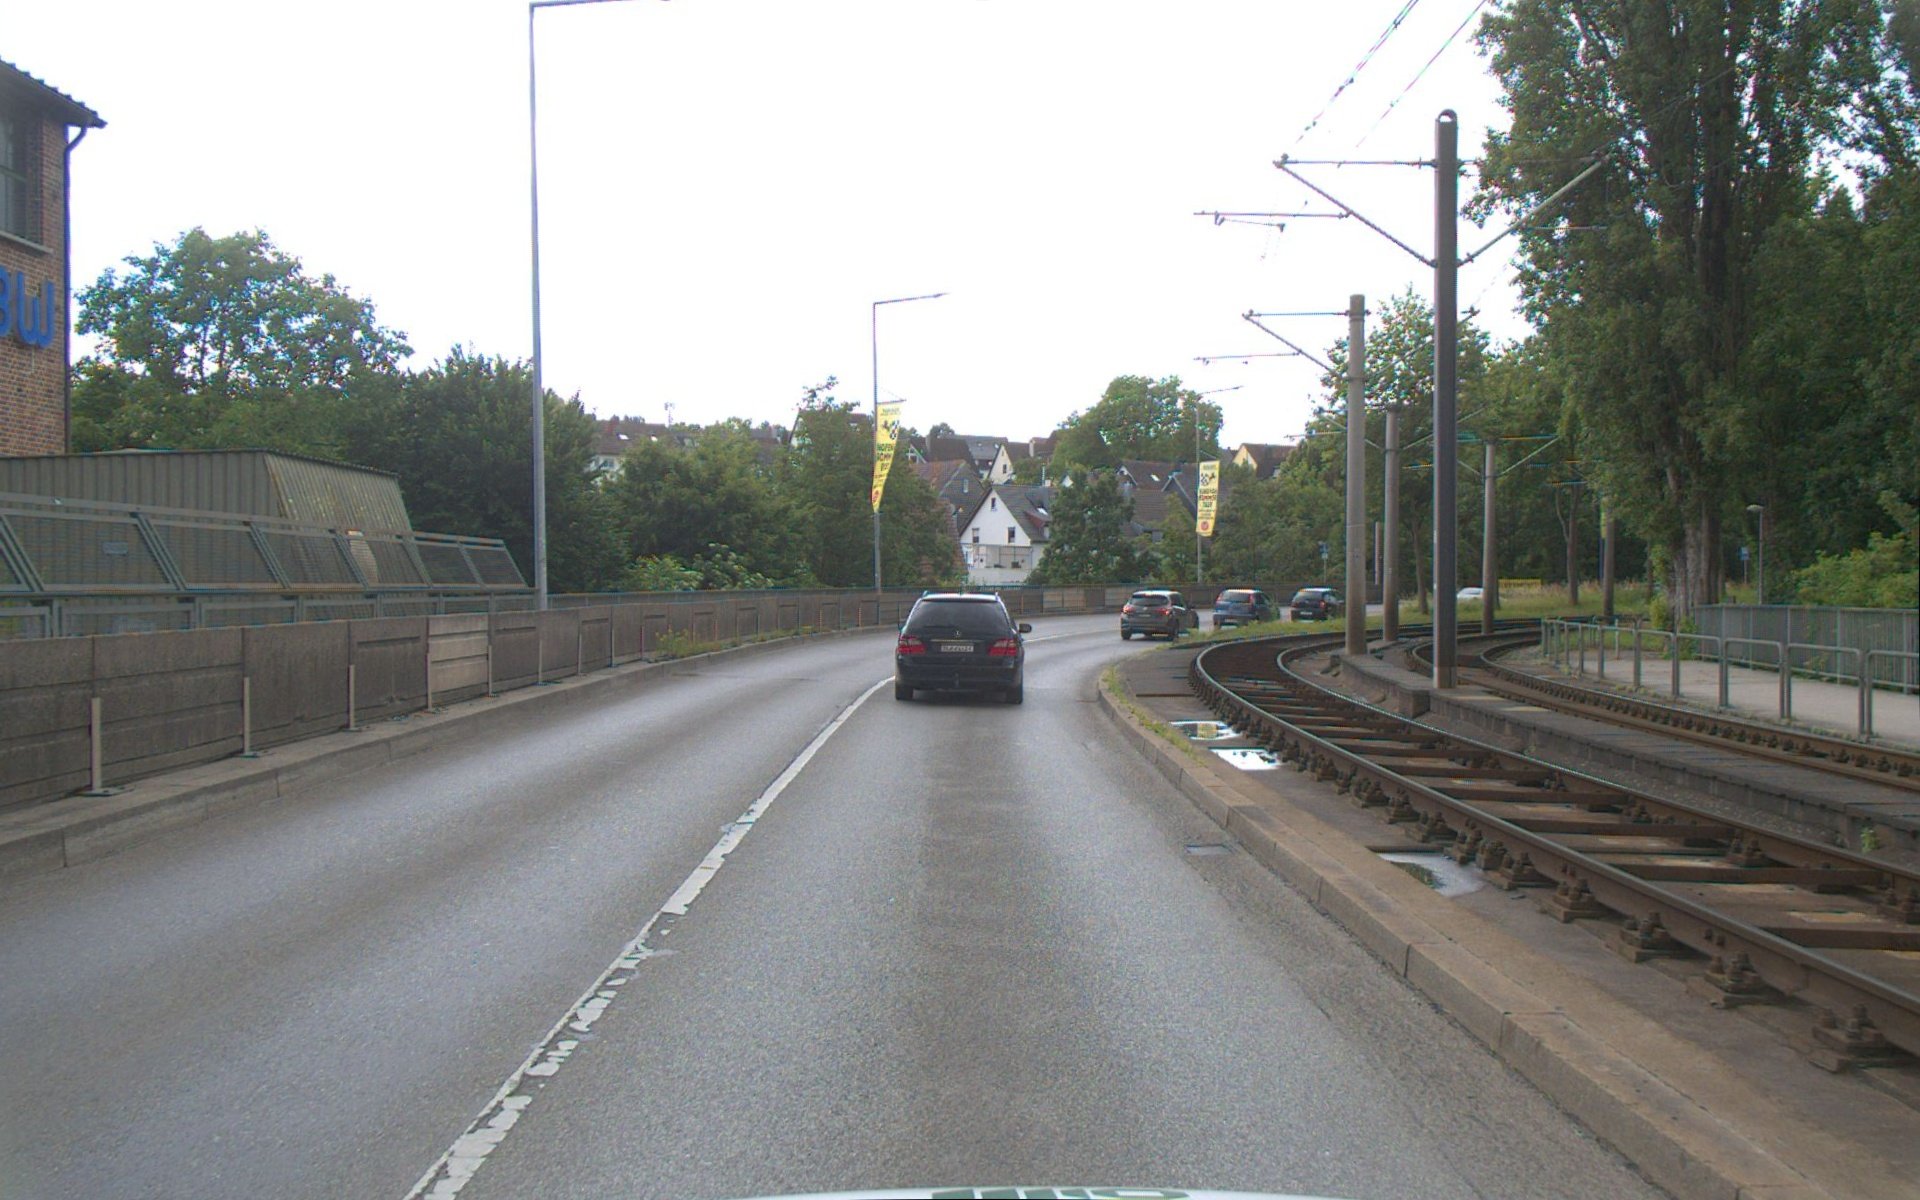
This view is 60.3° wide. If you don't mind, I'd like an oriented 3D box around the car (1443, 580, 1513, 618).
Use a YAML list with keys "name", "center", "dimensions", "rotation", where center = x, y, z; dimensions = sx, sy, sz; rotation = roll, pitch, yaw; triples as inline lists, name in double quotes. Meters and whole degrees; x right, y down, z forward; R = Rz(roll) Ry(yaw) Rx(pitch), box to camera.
- name: "car"
  center: [25.794, -0.060, 82.335]
  dimensions: [1.772, 1.741, 3.963]
  rotation: [-1, 2, 43]

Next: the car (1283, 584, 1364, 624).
- name: "car"
  center: [15.031, 0.157, 68.247]
  dimensions: [1.741, 1.582, 4.224]
  rotation: [0, 0, 36]

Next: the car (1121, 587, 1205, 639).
- name: "car"
  center: [6.539, 0.390, 53.013]
  dimensions: [1.734, 1.582, 4.241]
  rotation: [0, 1, 20]

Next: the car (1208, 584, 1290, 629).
- name: "car"
  center: [10.820, 0.231, 61.636]
  dimensions: [1.758, 1.582, 4.380]
  rotation: [-1, 0, 27]

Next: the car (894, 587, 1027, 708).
- name: "car"
  center: [0.038, 0.605, 23.870]
  dimensions: [1.723, 1.542, 4.443]
  rotation: [1, 1, 1]
